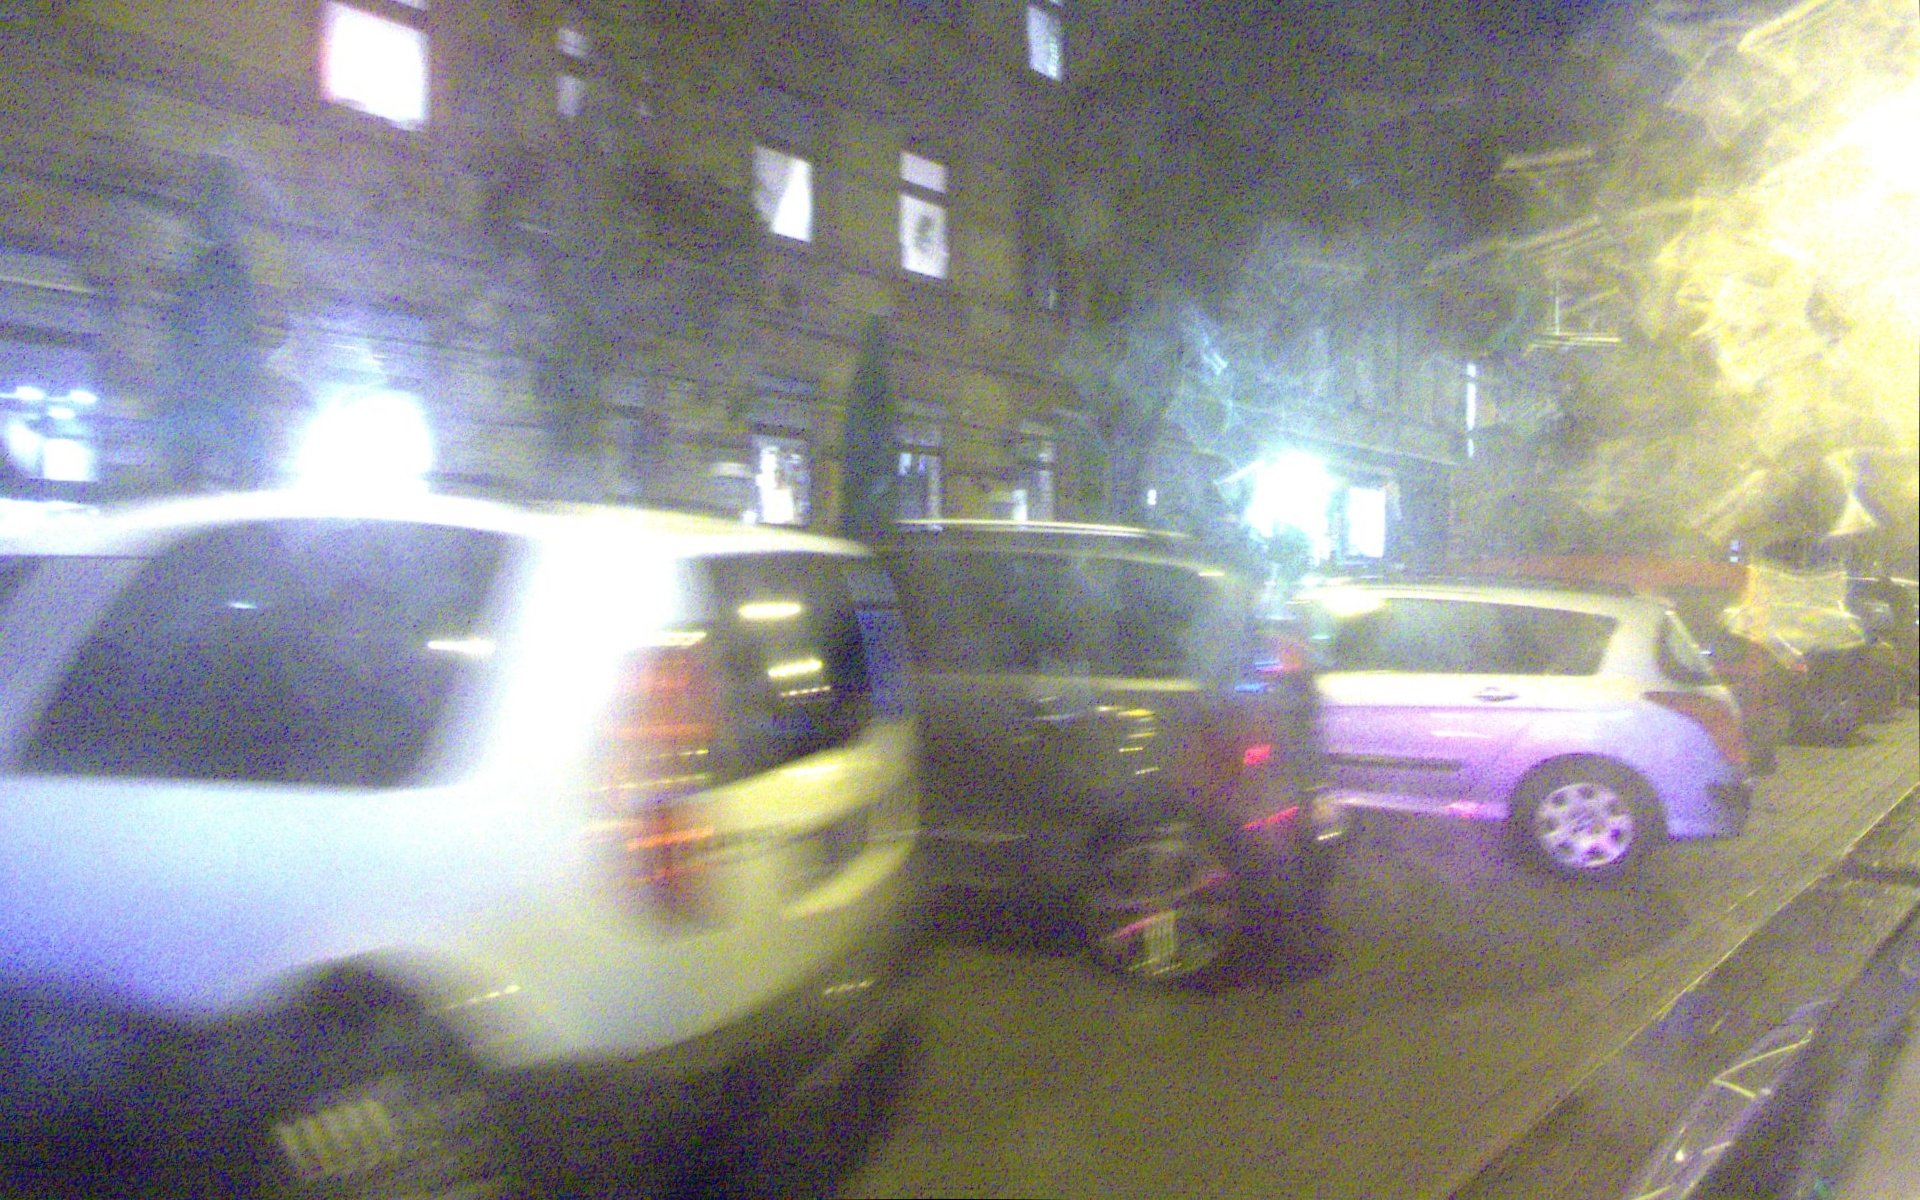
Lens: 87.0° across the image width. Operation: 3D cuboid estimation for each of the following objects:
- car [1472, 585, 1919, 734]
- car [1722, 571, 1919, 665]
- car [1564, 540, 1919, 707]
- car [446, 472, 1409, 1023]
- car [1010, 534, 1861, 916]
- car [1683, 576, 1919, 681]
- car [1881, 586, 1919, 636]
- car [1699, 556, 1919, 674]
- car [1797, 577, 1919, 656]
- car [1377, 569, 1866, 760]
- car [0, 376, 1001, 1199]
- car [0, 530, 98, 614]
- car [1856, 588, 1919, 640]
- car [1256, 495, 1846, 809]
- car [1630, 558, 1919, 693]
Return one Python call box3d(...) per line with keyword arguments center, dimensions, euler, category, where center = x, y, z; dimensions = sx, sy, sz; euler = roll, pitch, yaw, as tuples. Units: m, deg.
box3d(center=(8.457, 0.609, 11.949), dimensions=(3.999, 1.471, 1.671), euler=(2, 1, 15), category="car")
box3d(center=(18.817, 0.355, 21.464), dimensions=(3.899, 1.763, 1.694), euler=(4, 3, 28), category="car")
box3d(center=(10.818, 0.256, 13.878), dimensions=(3.875, 1.966, 1.737), euler=(3, 2, 13), category="car")
box3d(center=(-0.157, 0.394, 4.648), dimensions=(3.740, 1.733, 1.740), euler=(3, 2, 16), category="car")
box3d(center=(2.525, 0.497, 6.227), dimensions=(4.027, 1.617, 1.820), euler=(3, 2, 23), category="car")
box3d(center=(15.156, 0.461, 17.492), dimensions=(3.880, 1.569, 1.735), euler=(3, 2, 17), category="car")
box3d(center=(32.525, 0.439, 32.534), dimensions=(3.897, 1.581, 1.695), euler=(4, 3, 27), category="car")
box3d(center=(17.199, 0.282, 19.194), dimensions=(4.656, 2.004, 1.966), euler=(3, 2, 21), category="car")
box3d(center=(21.387, 0.398, 22.522), dimensions=(3.899, 1.639, 1.694), euler=(4, 3, 28), category="car")
box3d(center=(6.215, 0.513, 10.024), dimensions=(3.657, 1.470, 1.649), euler=(3, 2, 19), category="car")
box3d(center=(-1.896, 0.390, 2.970), dimensions=(3.688, 1.733, 1.764), euler=(3, 2, 16), category="car")
box3d(center=(-22.058, -0.626, 22.167), dimensions=(4.369, 1.785, 2.004), euler=(1, 0, -17), category="car")
box3d(center=(29.879, 0.499, 30.515), dimensions=(3.897, 1.481, 1.695), euler=(4, 3, 27), category="car")
box3d(center=(4.406, 0.282, 8.218), dimensions=(3.687, 2.053, 1.714), euler=(3, 2, 15), category="car")
box3d(center=(12.939, 0.343, 15.600), dimensions=(3.875, 1.815, 1.737), euler=(3, 2, 13), category="car")
